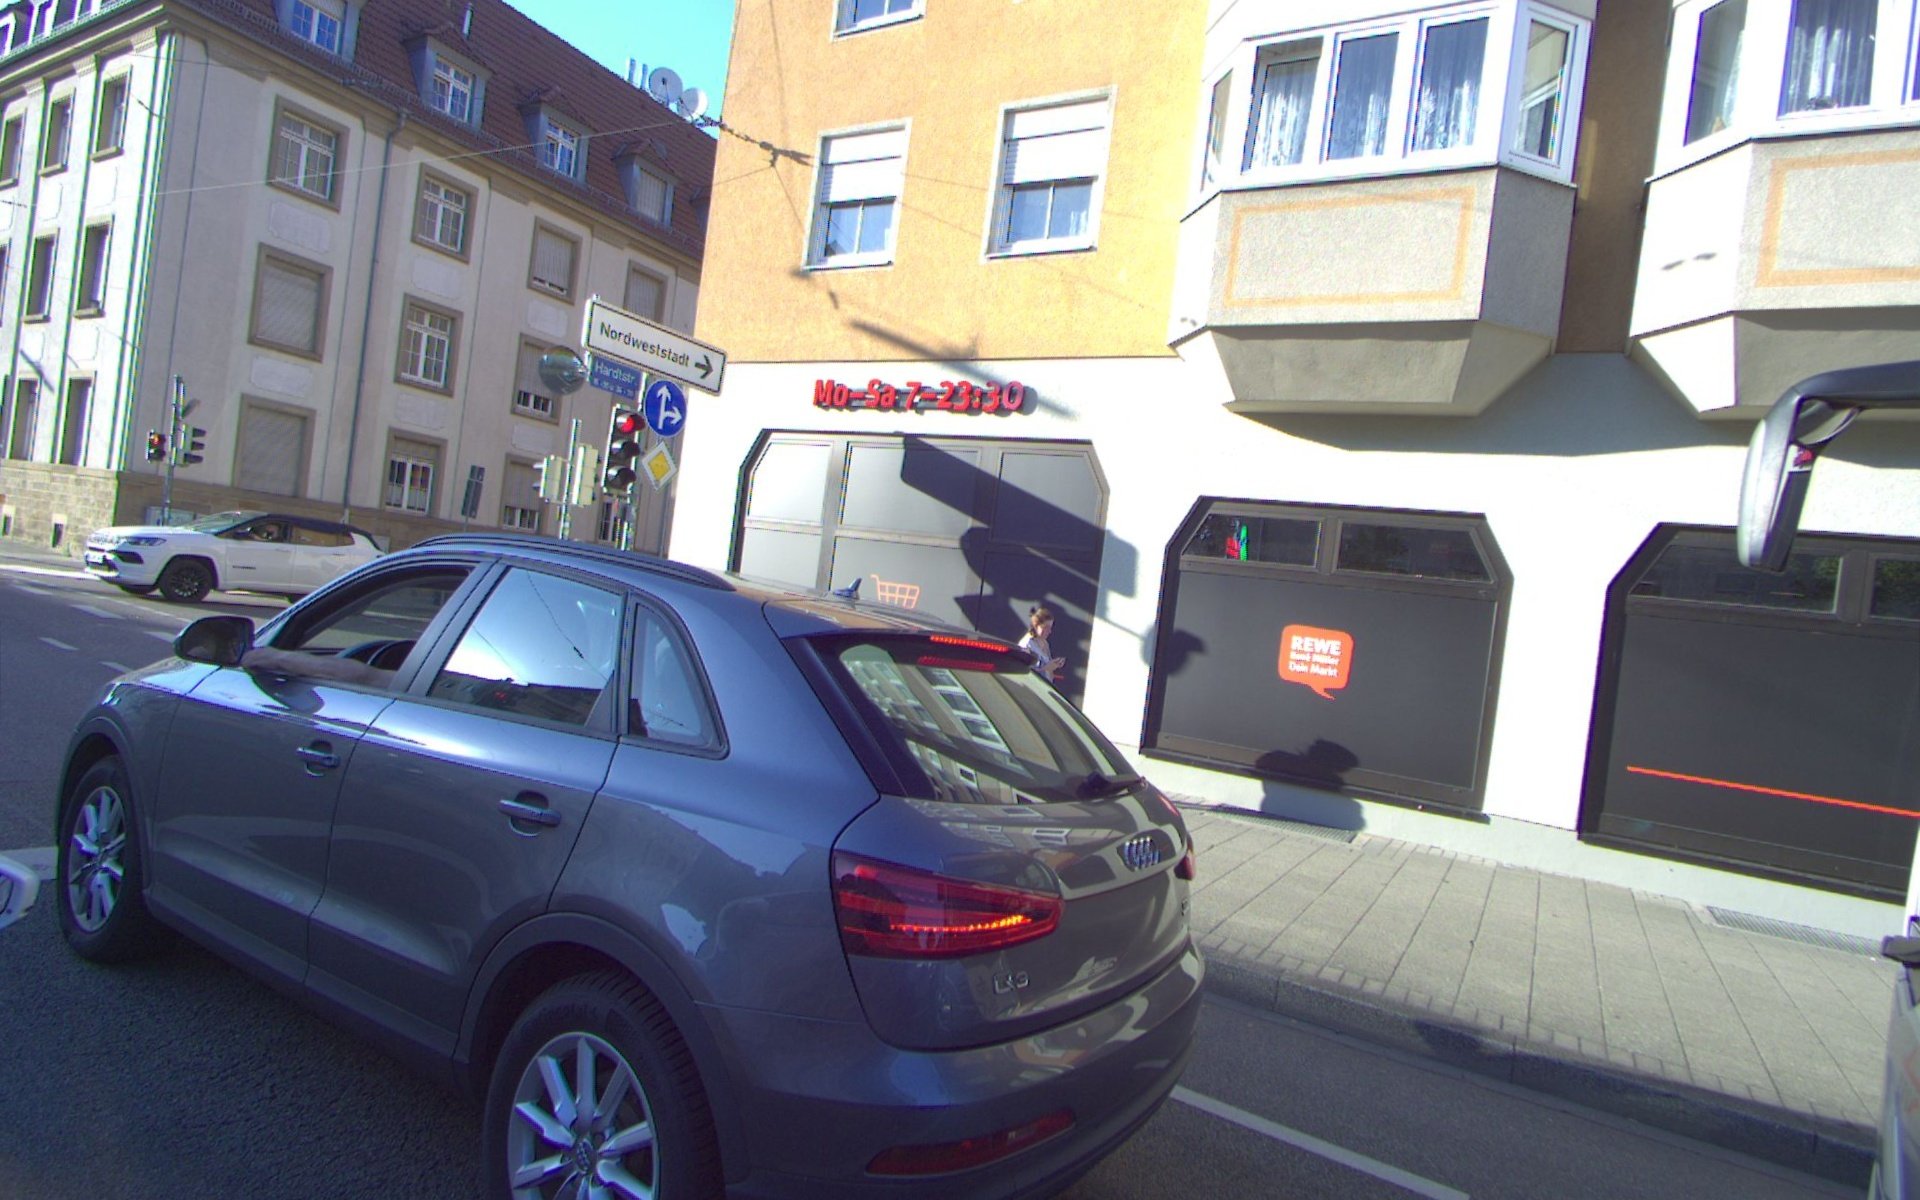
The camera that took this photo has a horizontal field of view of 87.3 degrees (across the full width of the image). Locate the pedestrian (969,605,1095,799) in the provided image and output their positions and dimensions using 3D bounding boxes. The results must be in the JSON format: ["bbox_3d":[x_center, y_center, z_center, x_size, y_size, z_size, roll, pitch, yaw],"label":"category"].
[{"bbox_3d":[0.629,0.868,8.794,0.817,1.544,0.440,7,1,32],"label":"pedestrian"}]

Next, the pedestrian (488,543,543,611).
[{"bbox_3d":[-12.072,-0.625,27.335,0.657,1.703,1.038,7,0,31],"label":"pedestrian"}]

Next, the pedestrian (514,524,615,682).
[{"bbox_3d":[-5.053,0.047,12.878,0.706,1.896,0.694,6,-2,31],"label":"pedestrian"}]

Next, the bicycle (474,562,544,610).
[{"bbox_3d":[-12.531,-0.382,27.972,0.657,1.131,1.564,7,0,32],"label":"bicycle"}]

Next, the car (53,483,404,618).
[{"bbox_3d":[-12.476,-0.767,17.521,1.966,1.660,4.428,7,-1,28],"label":"car"}]

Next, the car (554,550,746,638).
[{"bbox_3d":[-7.840,-0.088,25.868,1.966,1.749,4.469,6,-1,29],"label":"car"}]

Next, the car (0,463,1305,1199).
[{"bbox_3d":[-1.220,0.575,3.287,4.018,1.595,1.772,7,0,32],"label":"car"}]
